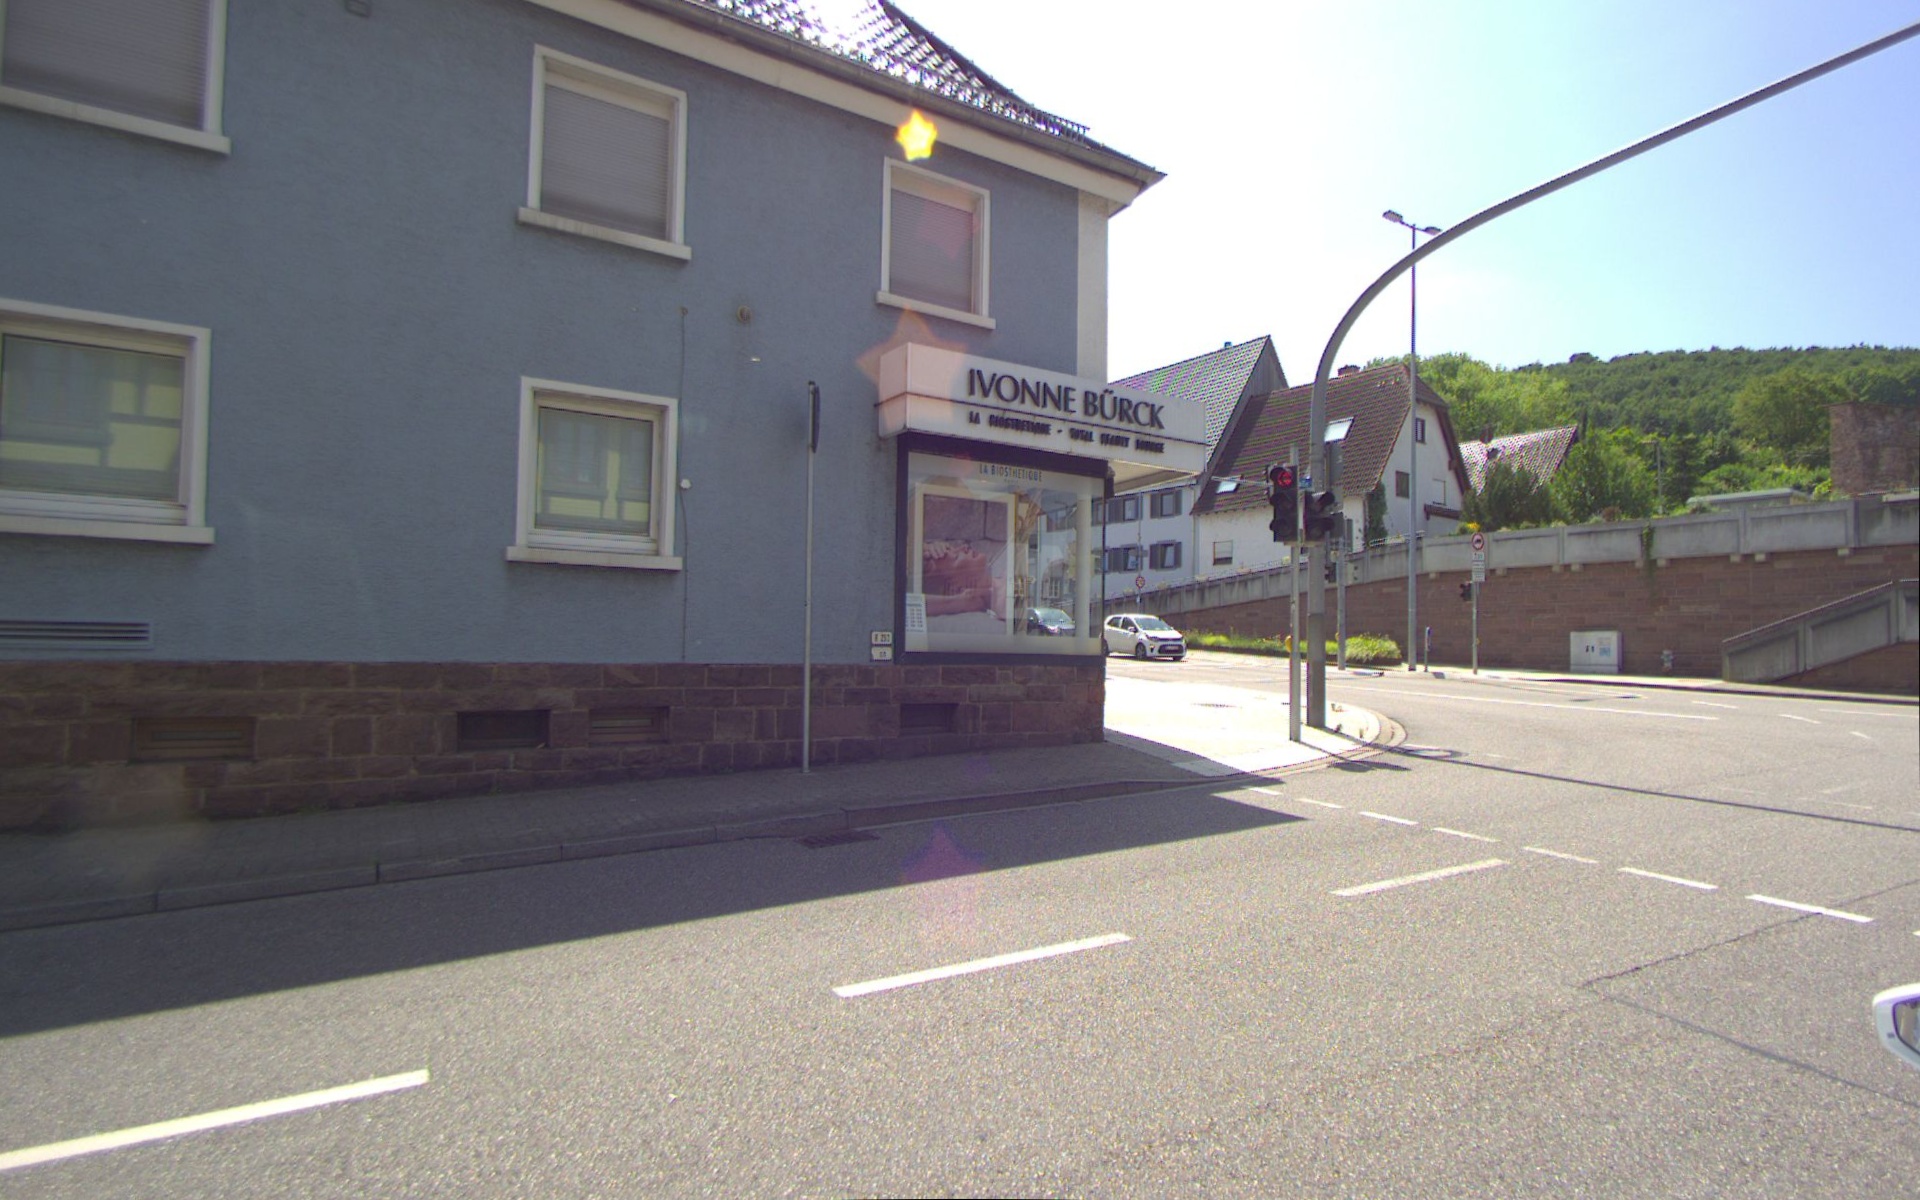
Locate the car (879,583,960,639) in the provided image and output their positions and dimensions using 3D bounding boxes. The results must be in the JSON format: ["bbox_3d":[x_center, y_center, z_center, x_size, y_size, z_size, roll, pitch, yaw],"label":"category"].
[{"bbox_3d":[-2.327,0.588,55.164,2.272,2.859,6.468,0,0,-23],"label":"car"}]

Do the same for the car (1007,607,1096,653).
[{"bbox_3d":[3.550,1.132,39.785,1.838,1.737,3.977,0,0,-24],"label":"car"}]

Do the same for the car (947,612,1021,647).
[{"bbox_3d":[1.047,1.304,46.001,1.839,1.499,3.976,0,0,-24],"label":"car"}]

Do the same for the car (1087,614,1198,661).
[{"bbox_3d":[6.188,1.235,34.551,1.839,1.499,3.976,0,0,-24],"label":"car"}]
